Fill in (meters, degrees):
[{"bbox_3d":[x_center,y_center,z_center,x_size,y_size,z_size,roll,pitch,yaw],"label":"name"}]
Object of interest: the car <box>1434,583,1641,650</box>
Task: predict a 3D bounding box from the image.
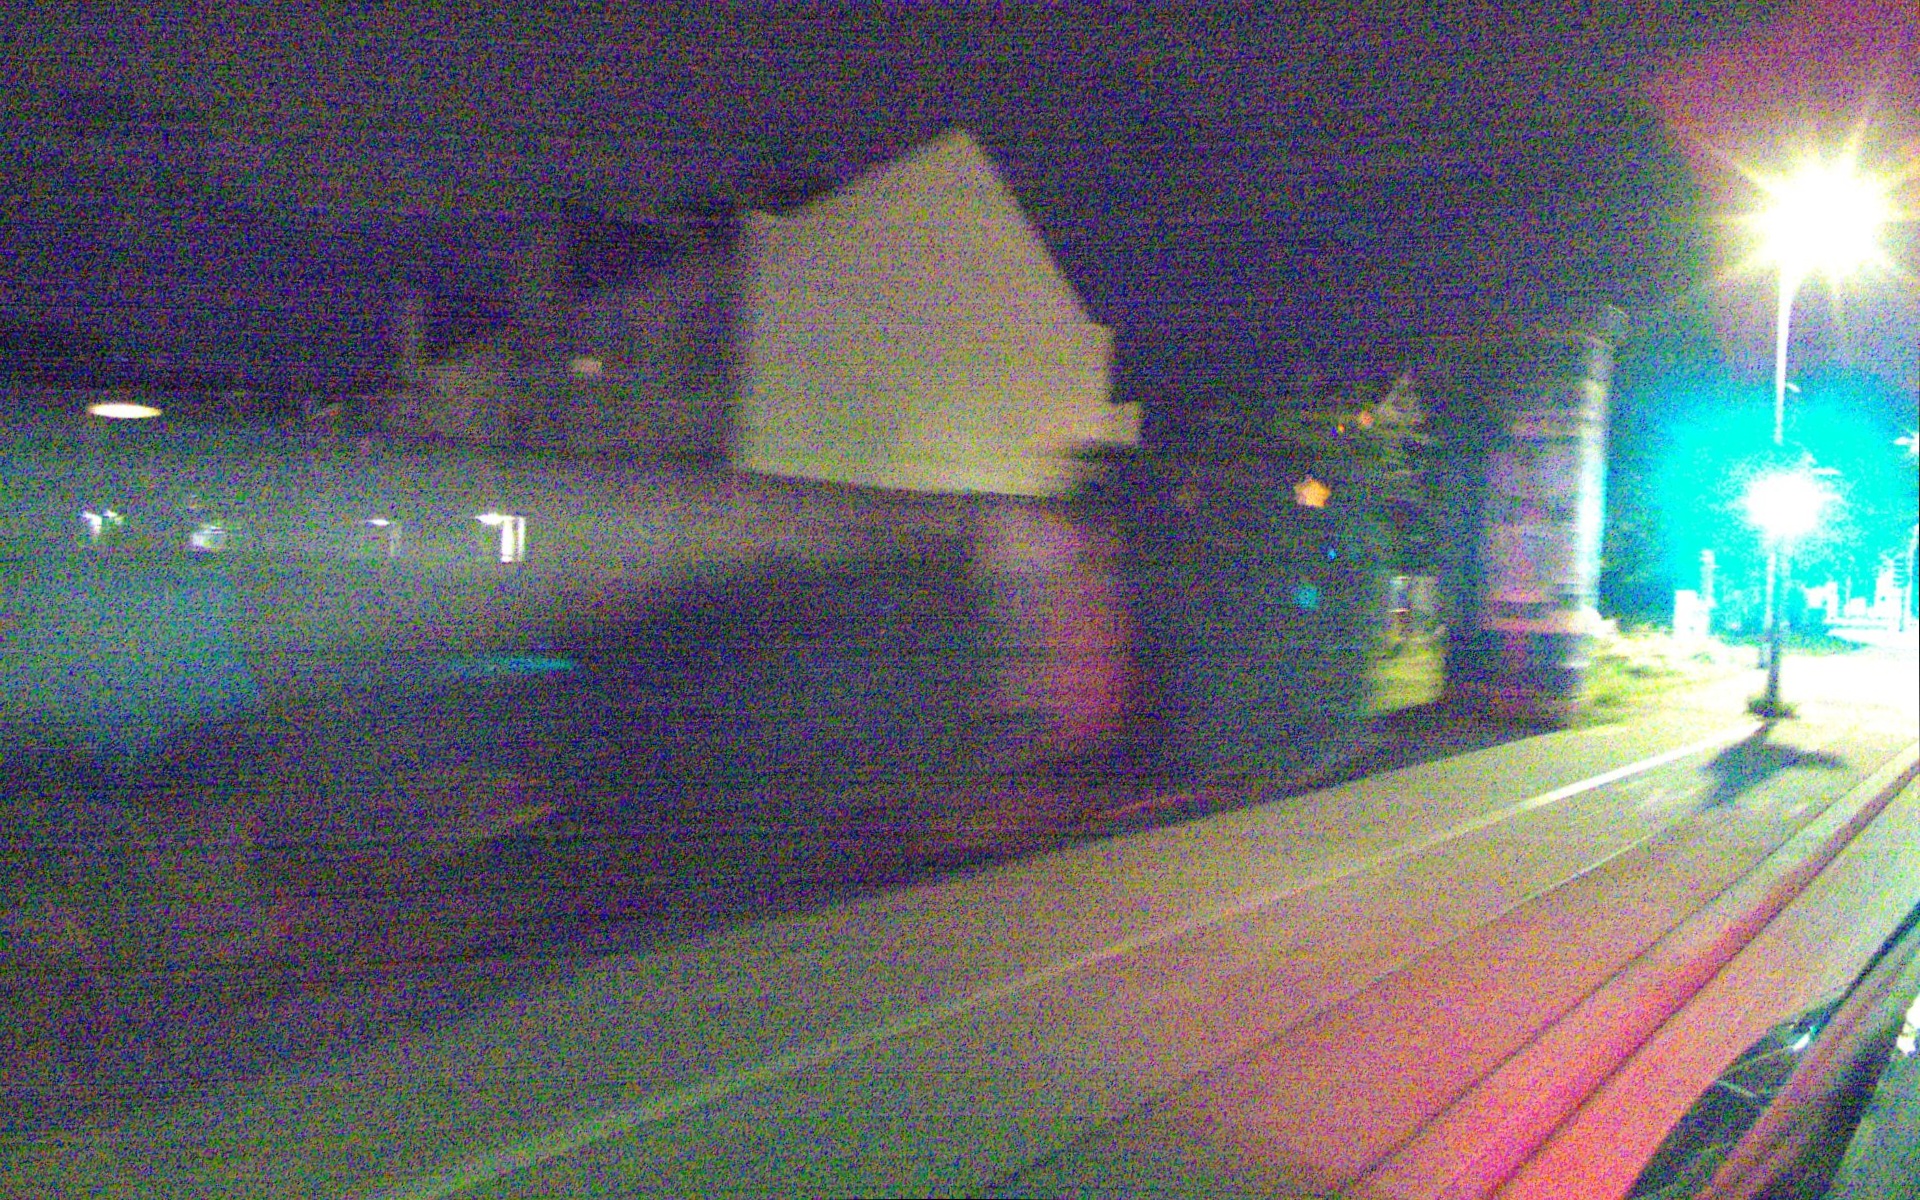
[{"bbox_3d":[13.270,0.311,23.408,1.827,1.371,3.771,-1,2,-41],"label":"car"}]
